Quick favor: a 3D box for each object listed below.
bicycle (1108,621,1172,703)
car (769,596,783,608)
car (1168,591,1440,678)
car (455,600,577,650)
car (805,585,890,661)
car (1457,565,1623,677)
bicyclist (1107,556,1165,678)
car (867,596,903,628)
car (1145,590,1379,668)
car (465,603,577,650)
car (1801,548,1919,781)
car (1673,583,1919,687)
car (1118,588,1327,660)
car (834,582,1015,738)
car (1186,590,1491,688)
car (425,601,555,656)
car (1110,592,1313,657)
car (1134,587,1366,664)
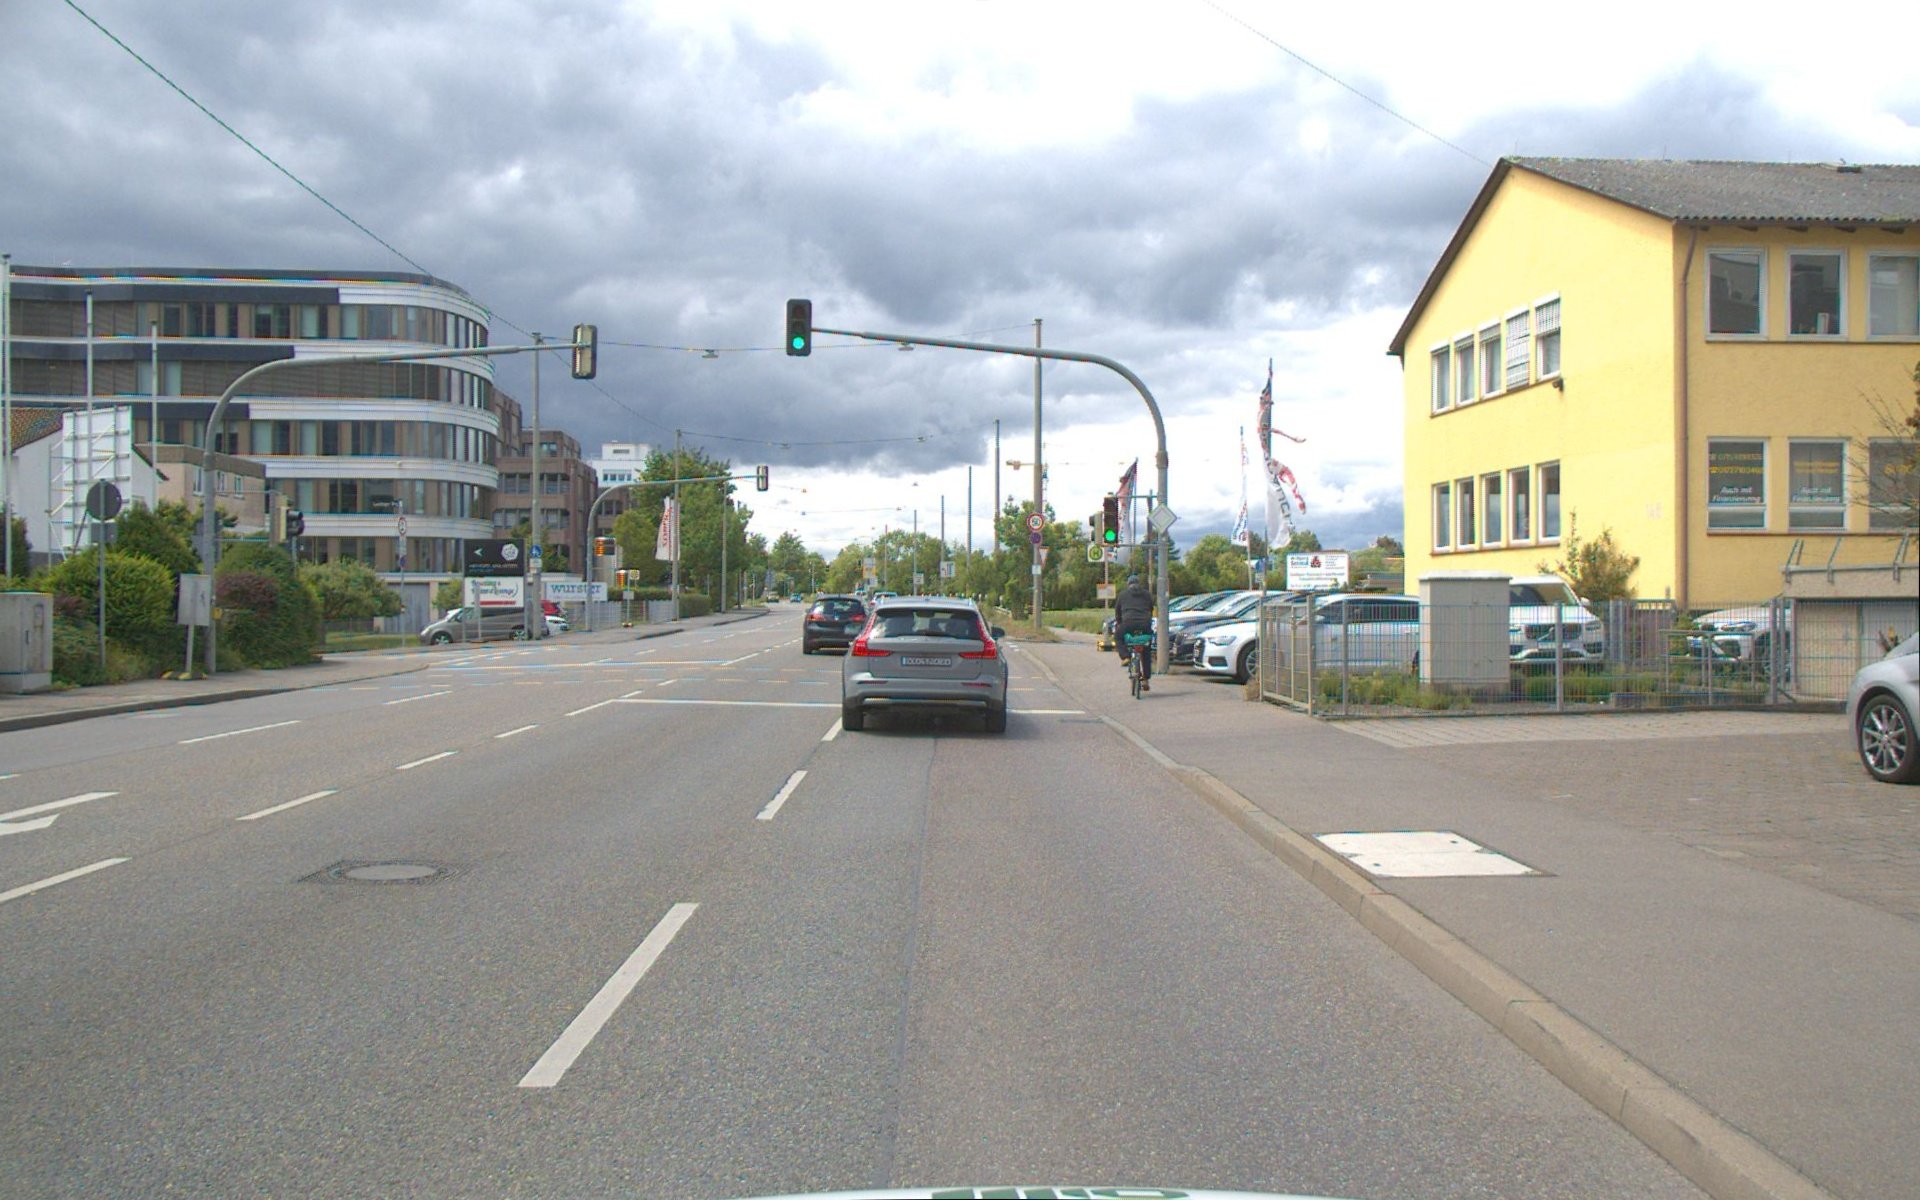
[{"bbox_3d":[2.602,0.878,24.050,0.625,1.081,1.977,-4,0,-1],"label":"bicycle"},{"bbox_3d":[-28.547,0.335,257.165,1.844,1.747,3.997,2,-1,-3],"label":"car"},{"bbox_3d":[6.260,0.615,30.490,4.565,1.519,2.034,0,0,-2],"label":"car"},{"bbox_3d":[-16.879,0.959,63.065,4.145,1.411,1.981,-6,0,-7],"label":"car"},{"bbox_3d":[-2.782,0.565,41.137,1.954,1.747,3.997,2,-1,-3],"label":"car"},{"bbox_3d":[10.457,0.395,30.204,1.934,1.853,5.034,-1,-1,9],"label":"car"},{"bbox_3d":[2.557,0.243,24.116,0.625,1.704,0.890,-4,0,-1],"label":"bicyclist"},{"bbox_3d":[-4.203,0.689,93.397,1.953,1.724,3.998,2,-1,-2],"label":"car"},{"bbox_3d":[6.036,0.571,33.387,4.282,1.428,1.987,1,0,-3],"label":"car"},{"bbox_3d":[-17.387,1.049,65.635,3.910,1.393,1.847,-6,0,-4],"label":"car"},{"bbox_3d":[7.441,0.428,10.427,1.837,1.572,4.519,-1,0,-2],"label":"car"},{"bbox_3d":[14.369,0.567,27.687,4.044,1.609,1.858,1,0,-2],"label":"car"},{"bbox_3d":[6.111,0.546,38.923,4.581,1.519,2.015,2,0,0],"label":"car"},{"bbox_3d":[-0.365,0.658,19.335,1.857,1.581,4.000,2,-1,0],"label":"car"},{"bbox_3d":[6.237,0.618,27.612,4.602,1.519,2.045,1,0,-2],"label":"car"},{"bbox_3d":[-16.453,0.975,58.056,4.019,1.421,1.904,-6,1,-9],"label":"car"},{"bbox_3d":[6.274,0.599,41.602,4.753,1.455,2.038,2,0,-1],"label":"car"},{"bbox_3d":[6.283,0.548,36.205,4.702,1.506,2.032,2,0,0],"label":"car"}]
